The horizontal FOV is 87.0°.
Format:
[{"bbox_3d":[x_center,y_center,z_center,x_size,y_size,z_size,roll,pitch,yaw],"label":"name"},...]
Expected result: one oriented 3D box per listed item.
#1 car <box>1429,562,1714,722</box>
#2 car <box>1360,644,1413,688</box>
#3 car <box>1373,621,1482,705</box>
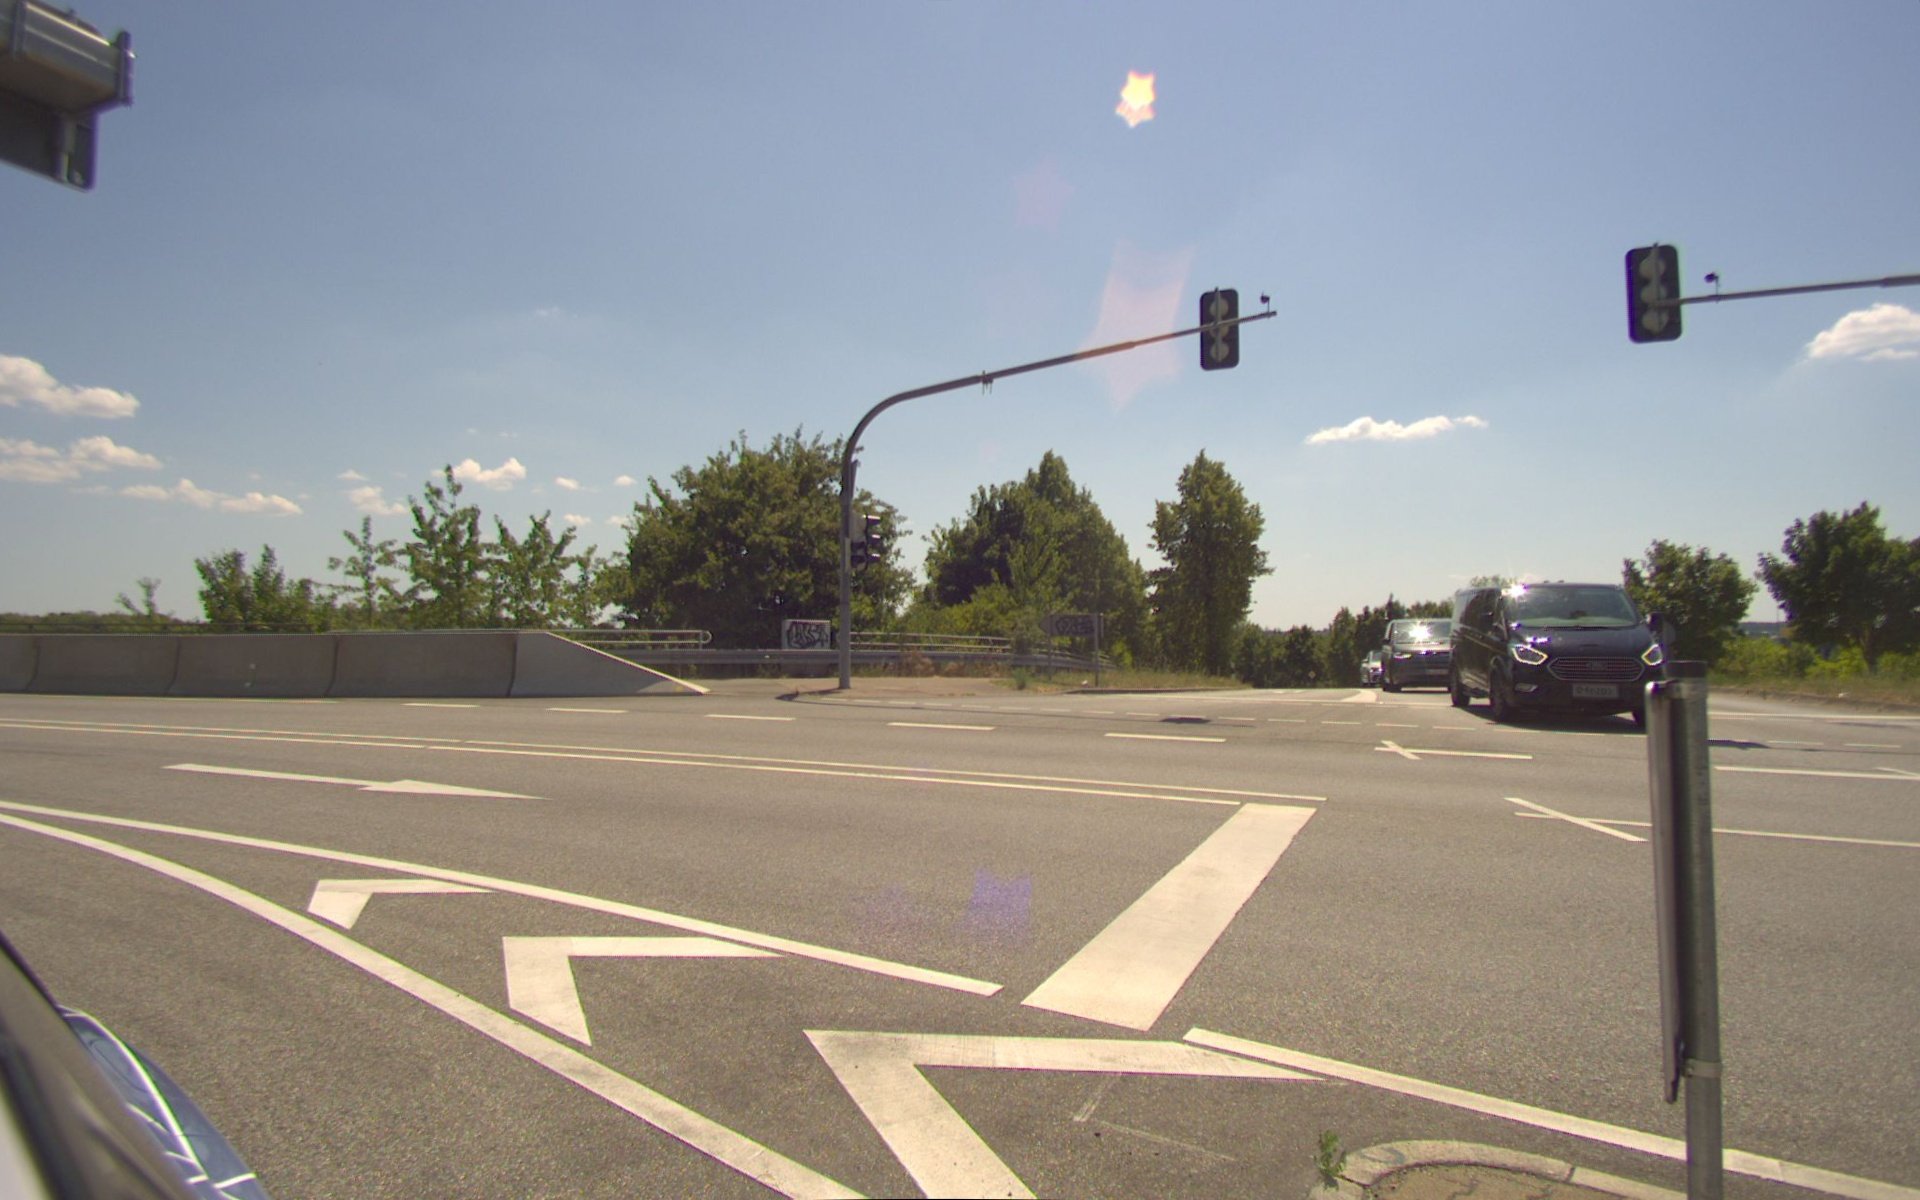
[{"bbox_3d":[8.812,0.678,15.279,2.105,1.952,5.386,1,-4,14],"label":"car"},{"bbox_3d":[16.367,2.482,38.905,1.783,1.540,3.970,-1,-2,22],"label":"car"},{"bbox_3d":[11.809,1.592,25.861,1.928,1.934,4.506,0,-3,17],"label":"car"}]
